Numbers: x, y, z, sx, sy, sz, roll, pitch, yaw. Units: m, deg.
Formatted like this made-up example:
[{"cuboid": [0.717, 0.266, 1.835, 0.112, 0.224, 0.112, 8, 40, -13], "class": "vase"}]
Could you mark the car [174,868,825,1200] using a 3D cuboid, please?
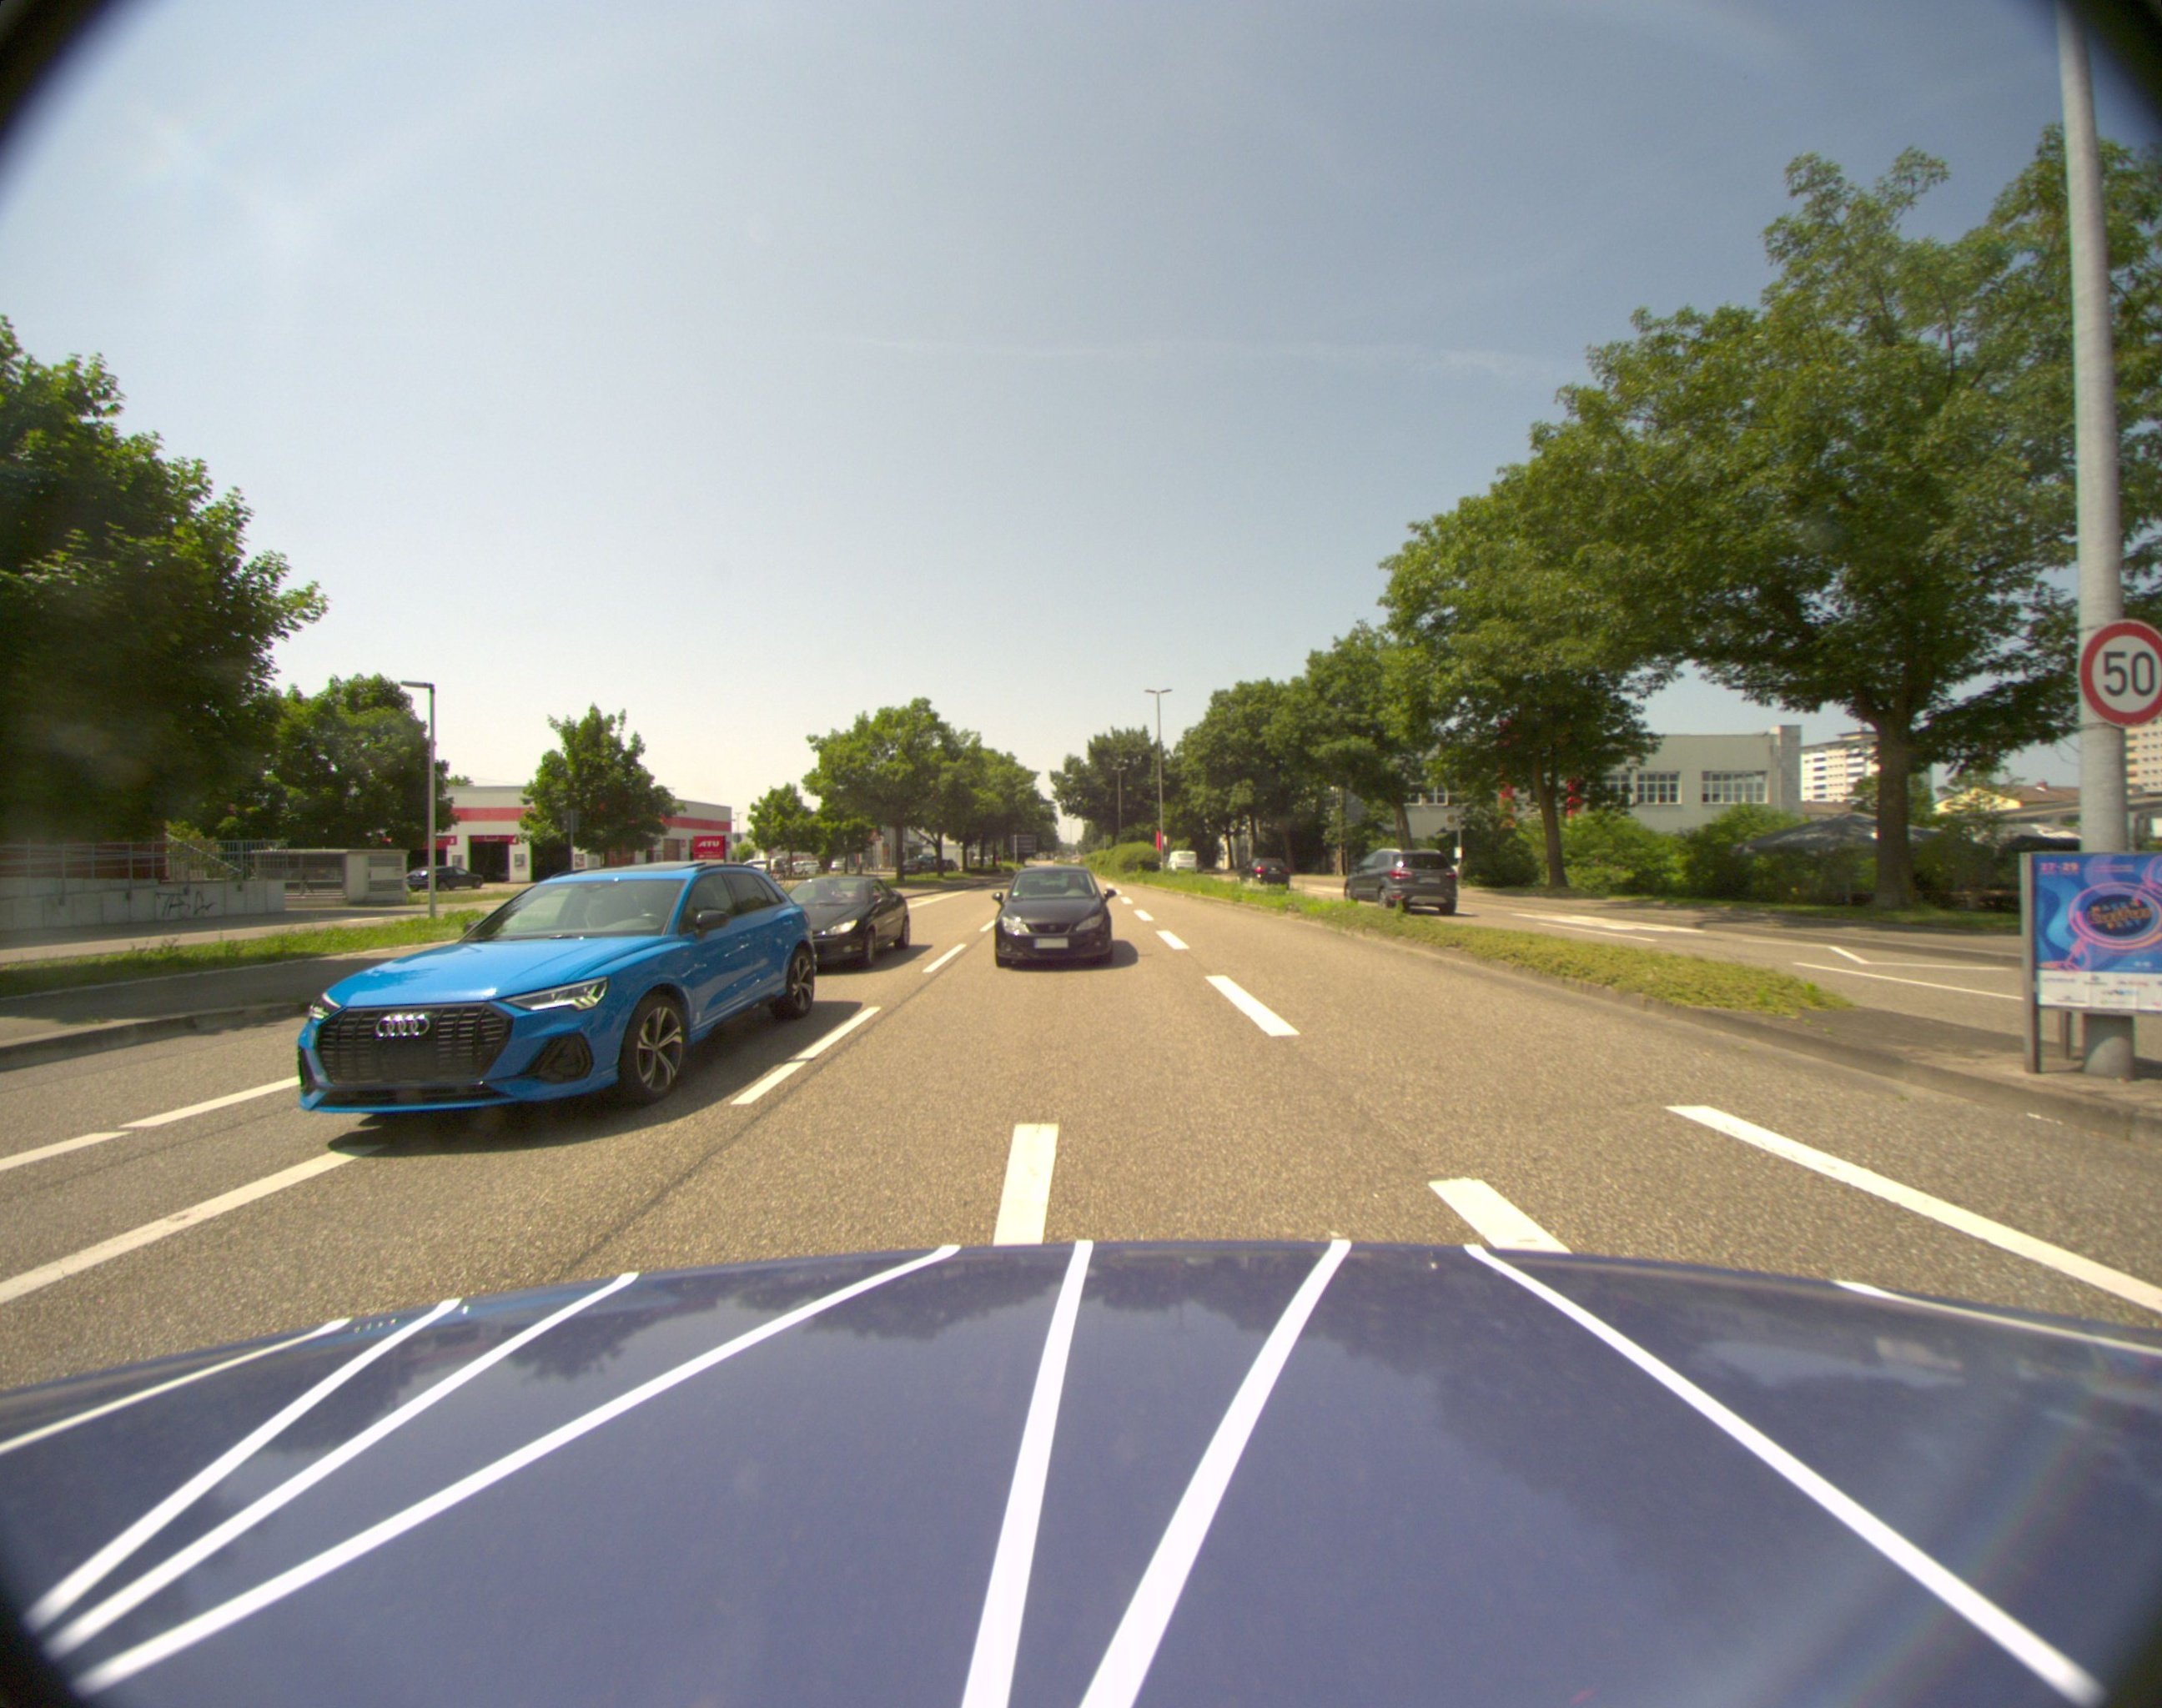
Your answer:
[{"cuboid": [-3.736, 0.972, 6.125, 1.842, 1.586, 4.400, -1, 0, 0], "class": "car"}]

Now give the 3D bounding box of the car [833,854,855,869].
[{"cuboid": [-27.417, 0.852, 87.984, 1.759, 1.586, 3.997, 0, 0, -7], "class": "car"}]

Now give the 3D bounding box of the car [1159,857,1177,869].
[{"cuboid": [11.304, 1.114, 98.680, 1.753, 1.443, 4.133, 2, 0, 0], "class": "car"}]

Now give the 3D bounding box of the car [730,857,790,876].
[{"cuboid": [-25.274, 0.965, 59.894, 3.998, 1.394, 1.747, 0, 0, -3], "class": "car"}]

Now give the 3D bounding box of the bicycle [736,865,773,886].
[{"cuboid": [-18.465, 1.221, 42.987, 1.784, 1.117, 0.514, 0, 0, -6], "class": "bicycle"}]

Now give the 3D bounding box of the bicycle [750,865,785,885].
[{"cuboid": [-18.287, 1.206, 44.373, 1.784, 1.117, 0.514, 0, 0, -6], "class": "bicycle"}]

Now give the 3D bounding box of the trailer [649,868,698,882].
[{"cuboid": [-23.998, 1.244, 44.820, 2.137, 0.757, 1.394, -1, 0, 1], "class": "trailer"}]

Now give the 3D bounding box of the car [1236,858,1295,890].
[{"cuboid": [8.505, 0.877, 35.371, 1.683, 1.331, 3.999, 2, 0, -1], "class": "car"}]

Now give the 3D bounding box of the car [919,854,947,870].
[{"cuboid": [-13.424, 0.704, 68.939, 1.719, 1.458, 4.000, 0, 0, 1], "class": "car"}]

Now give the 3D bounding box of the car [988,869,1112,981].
[{"cuboid": [-0.426, 0.983, 12.092, 1.642, 1.395, 4.000, 0, 0, -1], "class": "car"}]

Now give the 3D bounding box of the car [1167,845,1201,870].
[{"cuboid": [8.444, 0.288, 62.711, 1.999, 1.934, 4.907, 2, 0, -1], "class": "car"}]

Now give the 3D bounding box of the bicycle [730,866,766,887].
[{"cuboid": [-18.549, 1.239, 42.361, 1.784, 1.117, 0.514, 0, 0, -6], "class": "bicycle"}]

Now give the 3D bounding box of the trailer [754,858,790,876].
[{"cuboid": [-27.256, 1.110, 67.035, 2.642, 1.518, 1.415, 0, 0, -2], "class": "trailer"}]

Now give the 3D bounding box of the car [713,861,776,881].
[{"cuboid": [-25.502, 1.271, 57.665, 3.998, 1.394, 1.747, 0, 0, -2], "class": "car"}]

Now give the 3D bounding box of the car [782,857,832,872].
[{"cuboid": [-25.079, 0.953, 69.611, 3.998, 1.293, 1.689, 0, 0, -3], "class": "car"}]

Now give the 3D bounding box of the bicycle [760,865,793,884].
[{"cuboid": [-18.413, 1.219, 45.923, 1.784, 1.117, 0.514, 0, 0, -6], "class": "bicycle"}]

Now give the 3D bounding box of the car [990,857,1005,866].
[{"cuboid": [-13.010, 1.136, 118.447, 1.719, 1.458, 4.000, 0, 0, 1], "class": "car"}]

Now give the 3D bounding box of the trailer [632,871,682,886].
[{"cuboid": [-24.046, 1.384, 43.127, 2.137, 0.757, 1.267, -1, 0, 1], "class": "trailer"}]

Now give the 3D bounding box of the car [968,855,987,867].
[{"cuboid": [-13.303, 0.924, 97.850, 1.719, 1.458, 4.000, 0, 0, 1], "class": "car"}]

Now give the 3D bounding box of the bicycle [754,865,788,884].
[{"cuboid": [-18.378, 1.227, 45.092, 1.784, 1.117, 0.514, 0, 0, -6], "class": "bicycle"}]

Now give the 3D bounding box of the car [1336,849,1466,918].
[{"cuboid": [8.312, 0.708, 20.109, 1.691, 1.591, 3.884, 2, 0, -1], "class": "car"}]

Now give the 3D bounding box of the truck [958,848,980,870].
[{"cuboid": [-13.537, 0.577, 92.015, 1.904, 2.552, 4.000, 0, 0, 2], "class": "truck"}]

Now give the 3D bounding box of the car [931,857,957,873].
[{"cuboid": [-13.329, 1.052, 74.112, 1.719, 1.511, 4.000, 0, 0, 1], "class": "car"}]

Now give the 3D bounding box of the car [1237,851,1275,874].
[{"cuboid": [12.102, 0.568, 52.726, 1.710, 1.444, 3.891, 2, 0, 0], "class": "car"}]

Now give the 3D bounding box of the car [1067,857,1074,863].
[{"cuboid": [-3.324, 1.824, 235.770, 1.999, 1.692, 4.000, 0, 0, 0], "class": "car"}]

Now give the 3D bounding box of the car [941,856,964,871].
[{"cuboid": [-13.556, 1.024, 80.287, 1.719, 1.504, 4.000, 0, 0, 1], "class": "car"}]

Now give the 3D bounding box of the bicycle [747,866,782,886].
[{"cuboid": [-18.193, 1.243, 43.733, 1.784, 1.117, 0.514, 0, 0, -6], "class": "bicycle"}]

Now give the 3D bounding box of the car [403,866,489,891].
[{"cuboid": [-38.160, 1.465, 45.829, 1.717, 1.364, 4.145, 0, 0, 0], "class": "car"}]

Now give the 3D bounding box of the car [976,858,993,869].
[{"cuboid": [-13.271, 1.236, 104.615, 1.719, 1.458, 4.000, 0, 0, 1], "class": "car"}]

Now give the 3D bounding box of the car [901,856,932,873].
[{"cuboid": [-13.510, 0.856, 62.711, 1.642, 1.363, 4.000, 0, 0, 1], "class": "car"}]

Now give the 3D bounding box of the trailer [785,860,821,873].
[{"cuboid": [-24.607, 1.091, 67.234, 2.642, 1.046, 1.578, 0, 0, -2], "class": "trailer"}]

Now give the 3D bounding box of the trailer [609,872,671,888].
[{"cuboid": [-23.893, 1.405, 41.212, 2.467, 0.757, 1.449, -1, 0, 1], "class": "trailer"}]

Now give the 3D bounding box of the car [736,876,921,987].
[{"cuboid": [-3.854, 1.105, 12.334, 1.642, 1.336, 4.000, -3, 0, 0], "class": "car"}]
